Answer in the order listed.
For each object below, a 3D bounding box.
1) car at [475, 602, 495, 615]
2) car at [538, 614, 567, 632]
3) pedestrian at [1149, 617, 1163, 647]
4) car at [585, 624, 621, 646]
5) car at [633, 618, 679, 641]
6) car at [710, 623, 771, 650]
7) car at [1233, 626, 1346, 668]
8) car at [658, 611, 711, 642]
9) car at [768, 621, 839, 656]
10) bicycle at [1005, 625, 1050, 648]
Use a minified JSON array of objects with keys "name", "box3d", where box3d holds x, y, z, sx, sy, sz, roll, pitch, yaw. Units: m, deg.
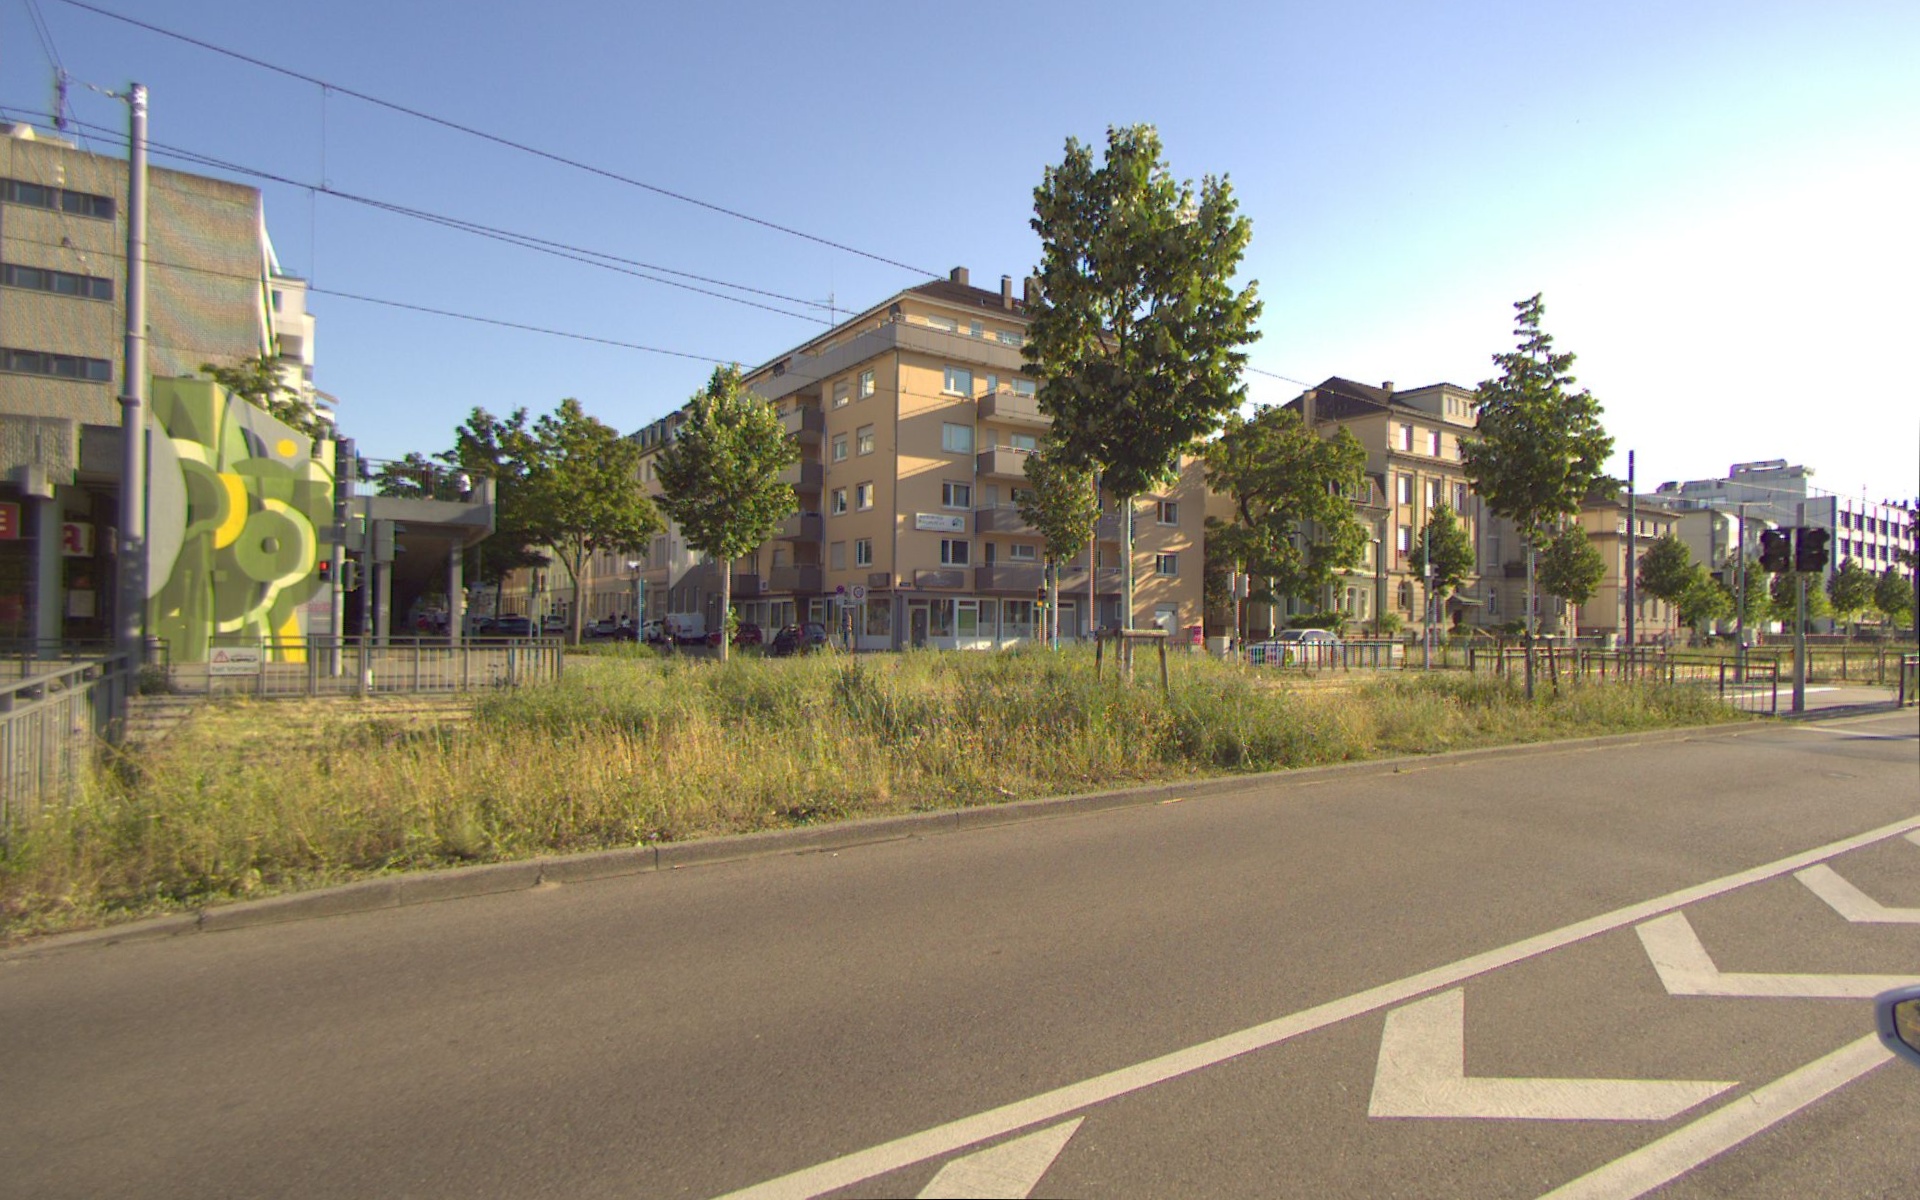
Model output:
[{"name":"car","box3d":[-62.500,1.131,132.171,1.803,1.627,3.851,1,-1,-33]},{"name":"car","box3d":[-37.907,2.100,93.414,1.803,1.627,3.851,1,-1,-33]},{"name":"pedestrian","box3d":[10.308,1.702,52.873,0.444,1.576,0.515,1,-1,-35]},{"name":"car","box3d":[-27.753,2.712,78.037,1.803,1.627,3.851,1,-1,-33]},{"name":"car","box3d":[-20.134,1.954,66.540,1.828,1.453,3.962,2,-1,-34]},{"name":"car","box3d":[-11.958,1.970,54.549,1.979,1.321,3.963,1,-1,-33]},{"name":"car","box3d":[12.809,1.800,38.991,4.616,1.483,1.764,2,-1,-35]},{"name":"car","box3d":[-16.795,1.600,61.155,1.979,1.766,3.963,1,-1,-33]},{"name":"car","box3d":[-7.467,1.793,47.644,1.828,1.516,3.962,2,-1,-34]},{"name":"bicycle","box3d":[3.537,1.900,52.286,2.559,1.152,0.527,1,-1,-34]}]
